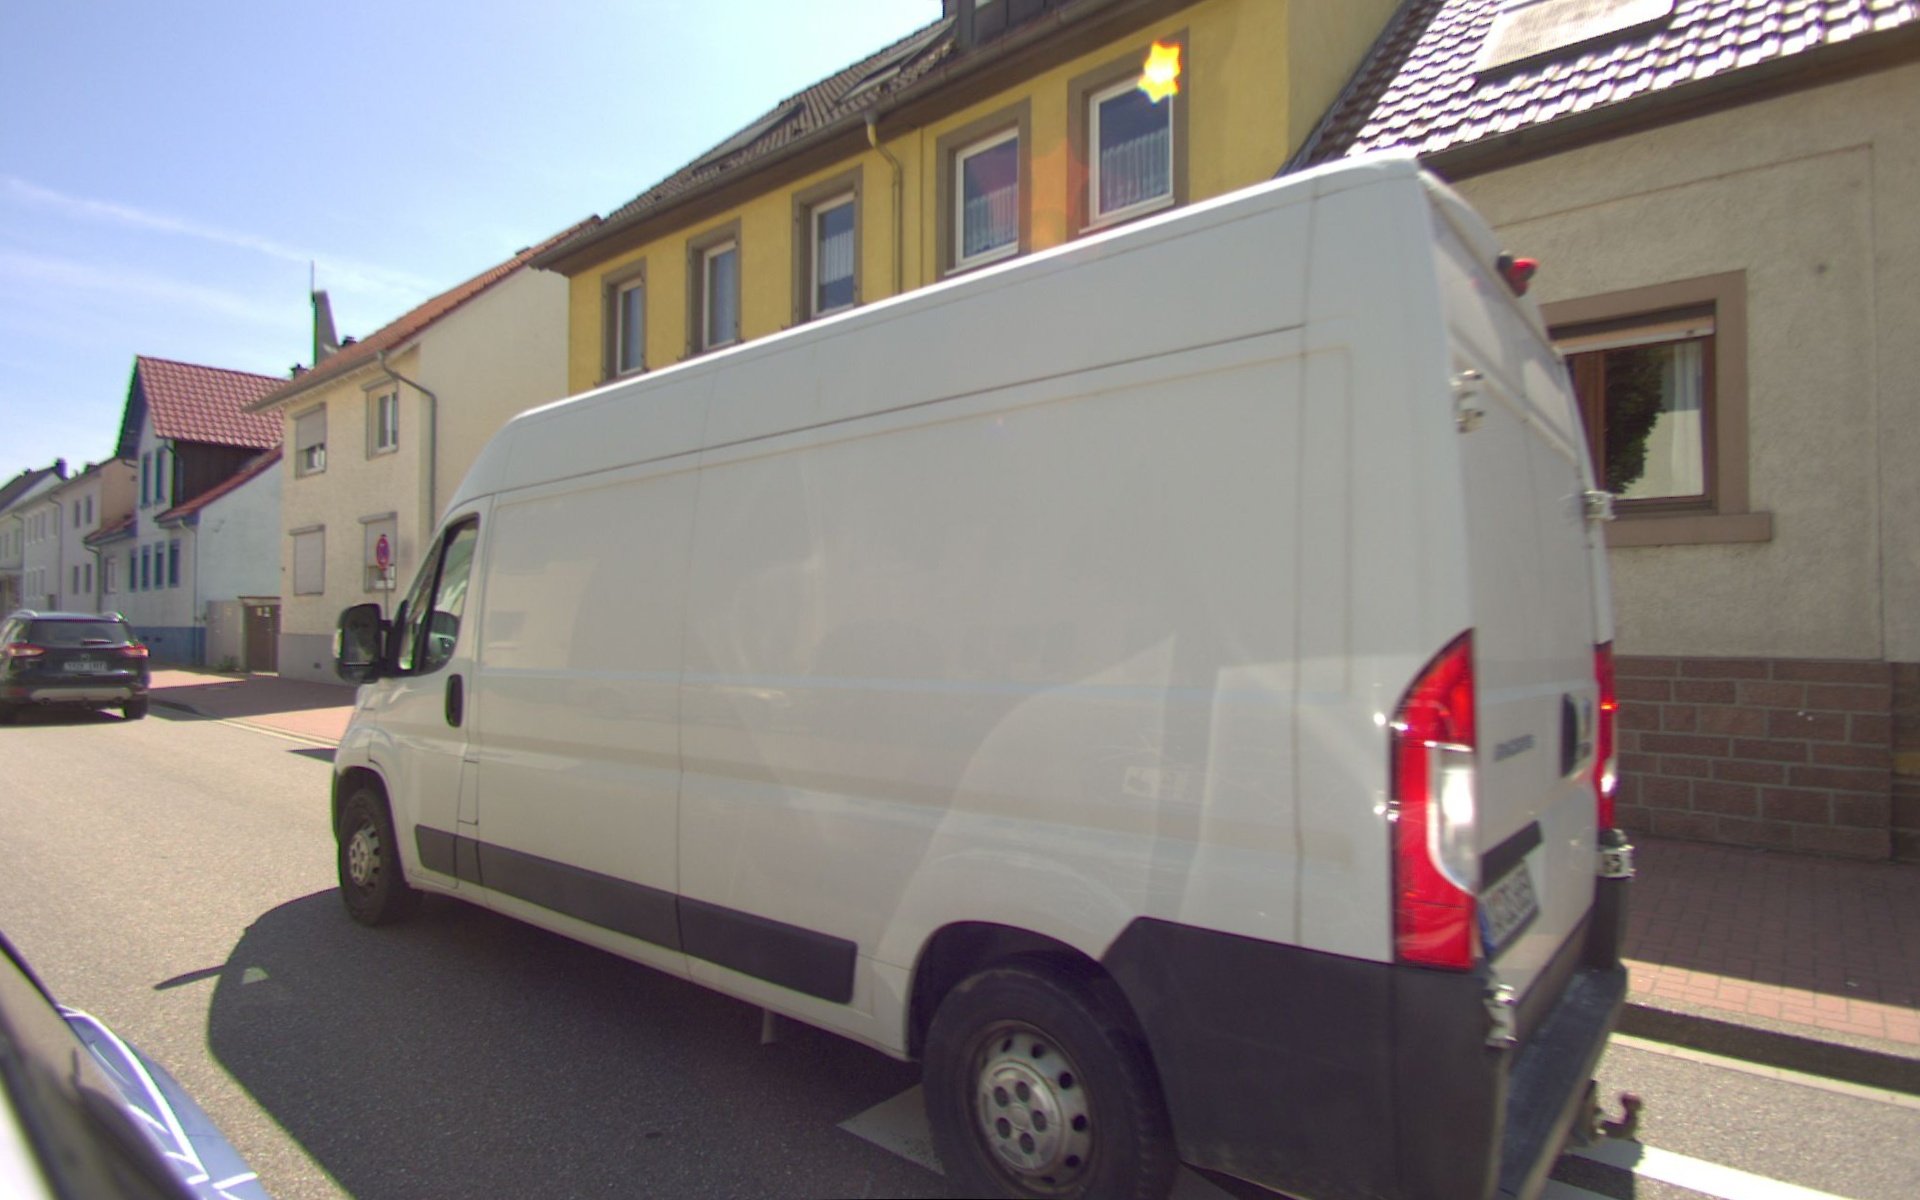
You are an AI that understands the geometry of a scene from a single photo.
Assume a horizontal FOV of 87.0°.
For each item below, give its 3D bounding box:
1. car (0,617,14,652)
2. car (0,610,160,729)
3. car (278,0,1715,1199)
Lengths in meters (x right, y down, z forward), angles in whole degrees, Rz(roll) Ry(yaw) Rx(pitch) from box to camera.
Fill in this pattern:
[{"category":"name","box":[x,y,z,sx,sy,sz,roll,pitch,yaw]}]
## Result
[{"category":"car","box":[-45.644,1.628,47.158,4.562,1.569,1.789,-1,1,41]},{"category":"car","box":[-14.587,1.046,16.289,4.320,1.682,1.820,-1,-3,40]},{"category":"car","box":[-0.646,0.289,4.251,6.002,2.474,2.048,-1,-3,40]}]
